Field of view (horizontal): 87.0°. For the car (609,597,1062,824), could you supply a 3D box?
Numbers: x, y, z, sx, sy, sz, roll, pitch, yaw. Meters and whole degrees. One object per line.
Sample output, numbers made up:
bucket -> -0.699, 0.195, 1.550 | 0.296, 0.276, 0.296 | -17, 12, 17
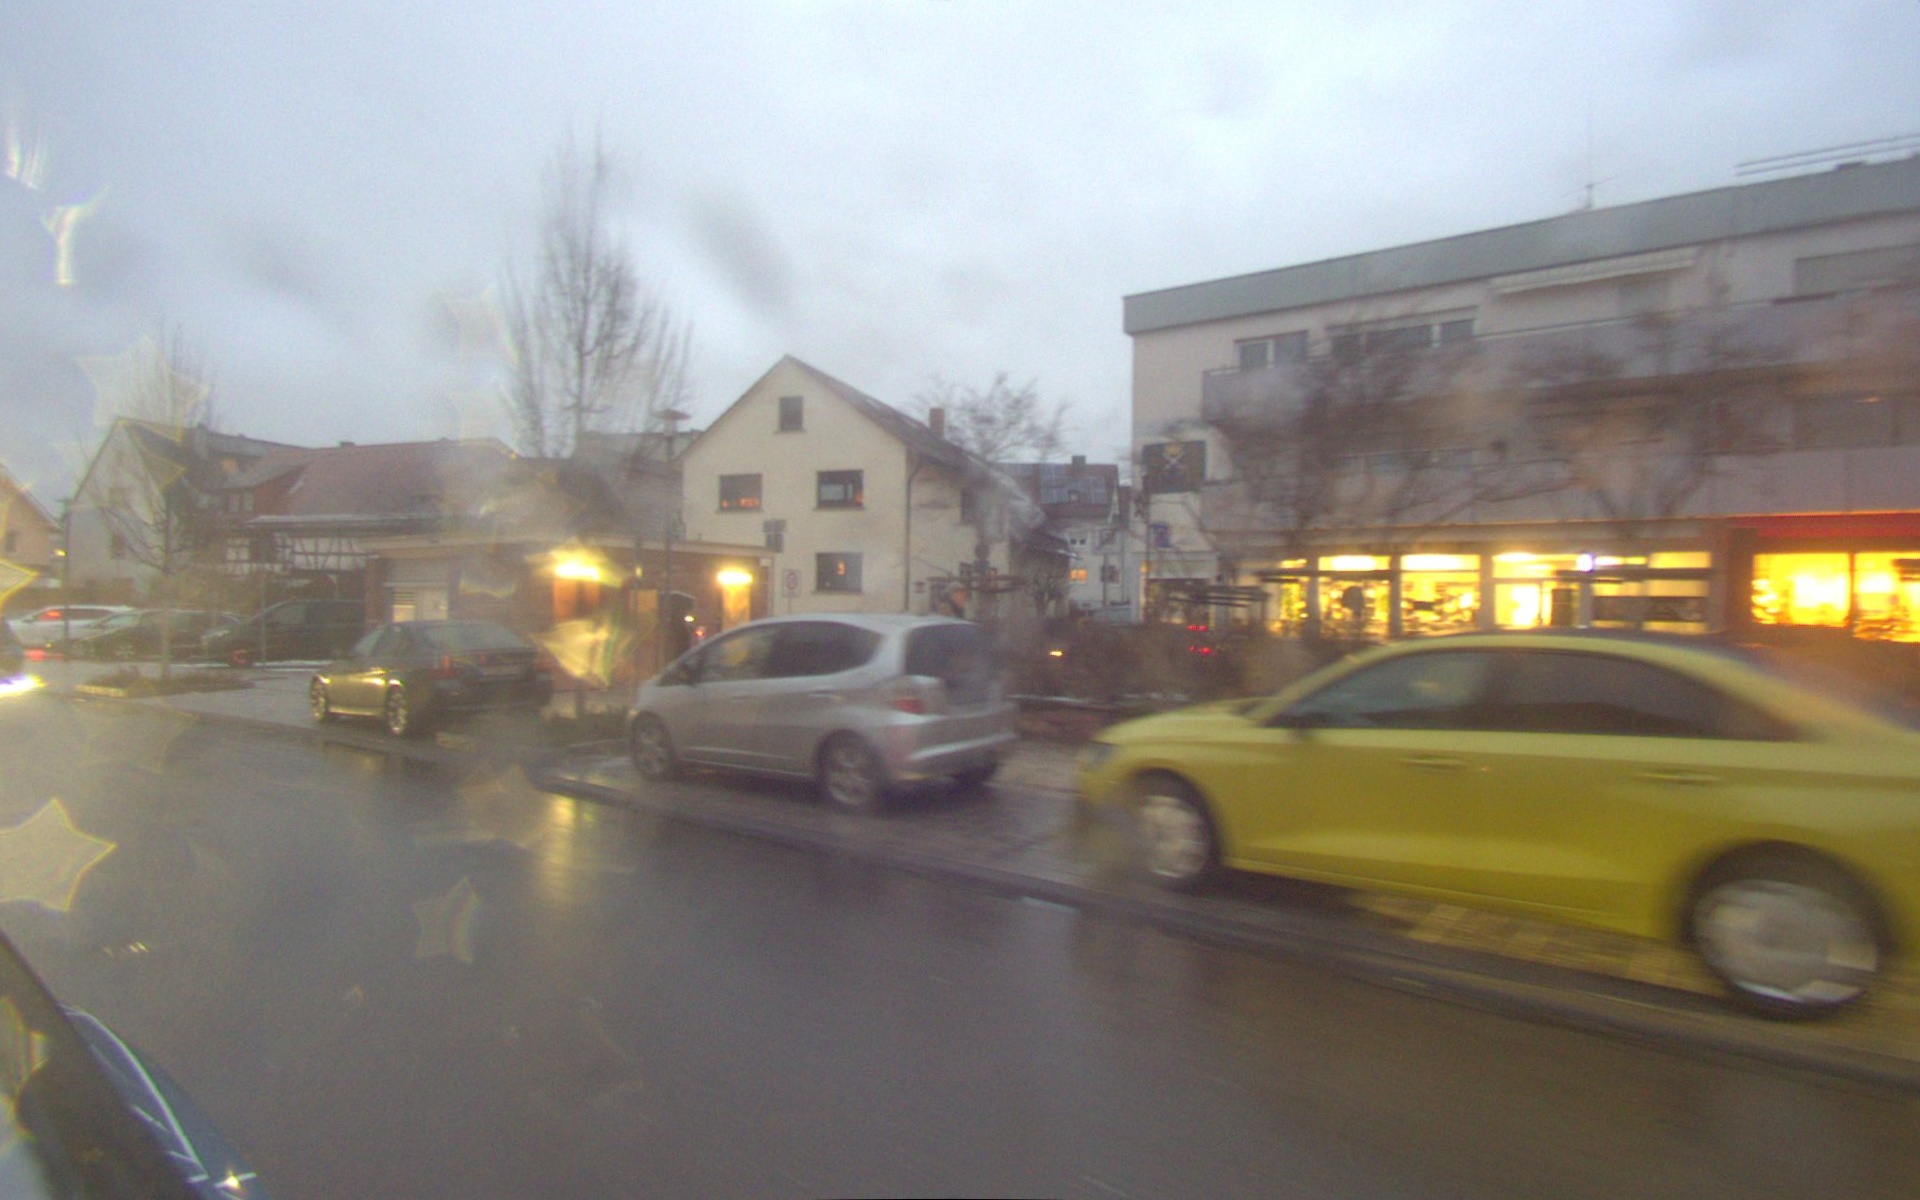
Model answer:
car -> -1.168, 0.775, 8.809 | 3.666, 1.546, 1.857 | -1, 0, 37

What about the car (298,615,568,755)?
car -> -7.118, 0.994, 13.487 | 4.137, 1.546, 1.816 | -1, 0, 41

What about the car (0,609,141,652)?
car -> -29.946, 0.988, 33.756 | 3.940, 1.309, 2.002 | -1, 0, -44

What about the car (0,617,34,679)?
car -> -24.954, 1.188, 24.910 | 3.894, 1.457, 1.965 | -1, 0, 27

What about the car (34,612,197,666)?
car -> -27.049, 1.189, 32.579 | 3.936, 1.559, 2.004 | -1, 0, -39

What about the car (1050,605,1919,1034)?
car -> 2.718, 0.777, 5.069 | 4.375, 1.442, 1.676 | -1, 0, 42

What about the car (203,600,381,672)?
car -> -17.984, 0.919, 27.388 | 3.933, 1.776, 1.437 | -1, 0, -34

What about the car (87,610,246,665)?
car -> -24.581, 1.112, 31.408 | 3.785, 1.557, 2.003 | -1, 0, -41

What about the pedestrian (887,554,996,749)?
pedestrian -> -0.207, 0.544, 11.097 | 0.889, 2.029, 0.792 | 1, -2, -39
